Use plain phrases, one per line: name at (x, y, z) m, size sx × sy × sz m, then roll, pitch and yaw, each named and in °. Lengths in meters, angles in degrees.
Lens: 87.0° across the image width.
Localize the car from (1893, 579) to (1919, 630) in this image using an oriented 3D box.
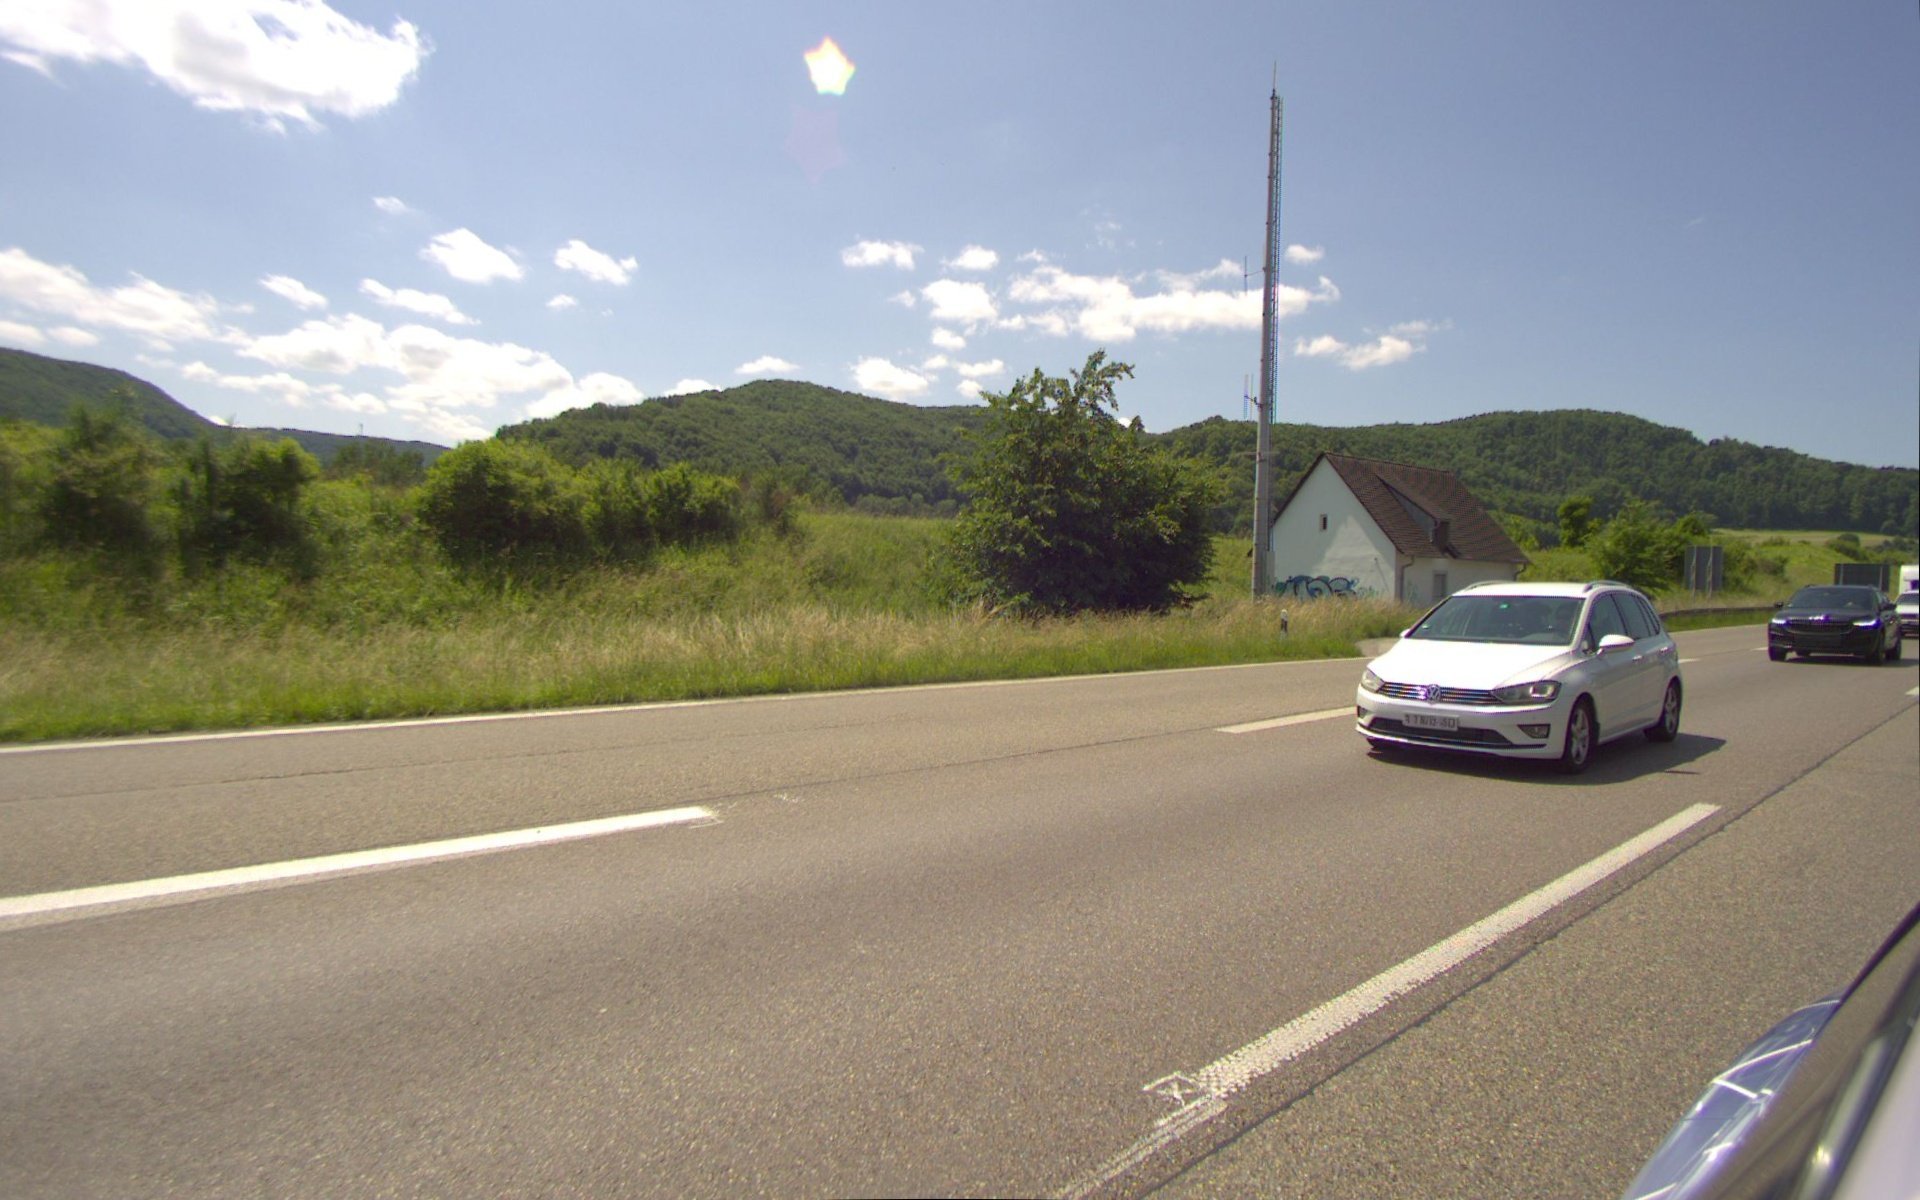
car at (32.293, 0.135, 33.351) m, size 3.929 × 1.603 × 1.820 m, roll 0°, pitch 1°, yaw -40°

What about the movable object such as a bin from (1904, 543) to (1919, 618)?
movable object such as a bin at (37.333, -0.698, 37.636) m, size 6.590 × 2.664 × 2.480 m, roll 0°, pitch 1°, yaw -40°

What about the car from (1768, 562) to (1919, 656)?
car at (19.143, 0.148, 21.799) m, size 4.097 × 1.794 × 1.893 m, roll 0°, pitch 2°, yaw -40°

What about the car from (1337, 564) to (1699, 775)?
car at (5.354, 0.481, 9.494) m, size 3.985 × 1.560 × 1.775 m, roll 0°, pitch 1°, yaw -42°
